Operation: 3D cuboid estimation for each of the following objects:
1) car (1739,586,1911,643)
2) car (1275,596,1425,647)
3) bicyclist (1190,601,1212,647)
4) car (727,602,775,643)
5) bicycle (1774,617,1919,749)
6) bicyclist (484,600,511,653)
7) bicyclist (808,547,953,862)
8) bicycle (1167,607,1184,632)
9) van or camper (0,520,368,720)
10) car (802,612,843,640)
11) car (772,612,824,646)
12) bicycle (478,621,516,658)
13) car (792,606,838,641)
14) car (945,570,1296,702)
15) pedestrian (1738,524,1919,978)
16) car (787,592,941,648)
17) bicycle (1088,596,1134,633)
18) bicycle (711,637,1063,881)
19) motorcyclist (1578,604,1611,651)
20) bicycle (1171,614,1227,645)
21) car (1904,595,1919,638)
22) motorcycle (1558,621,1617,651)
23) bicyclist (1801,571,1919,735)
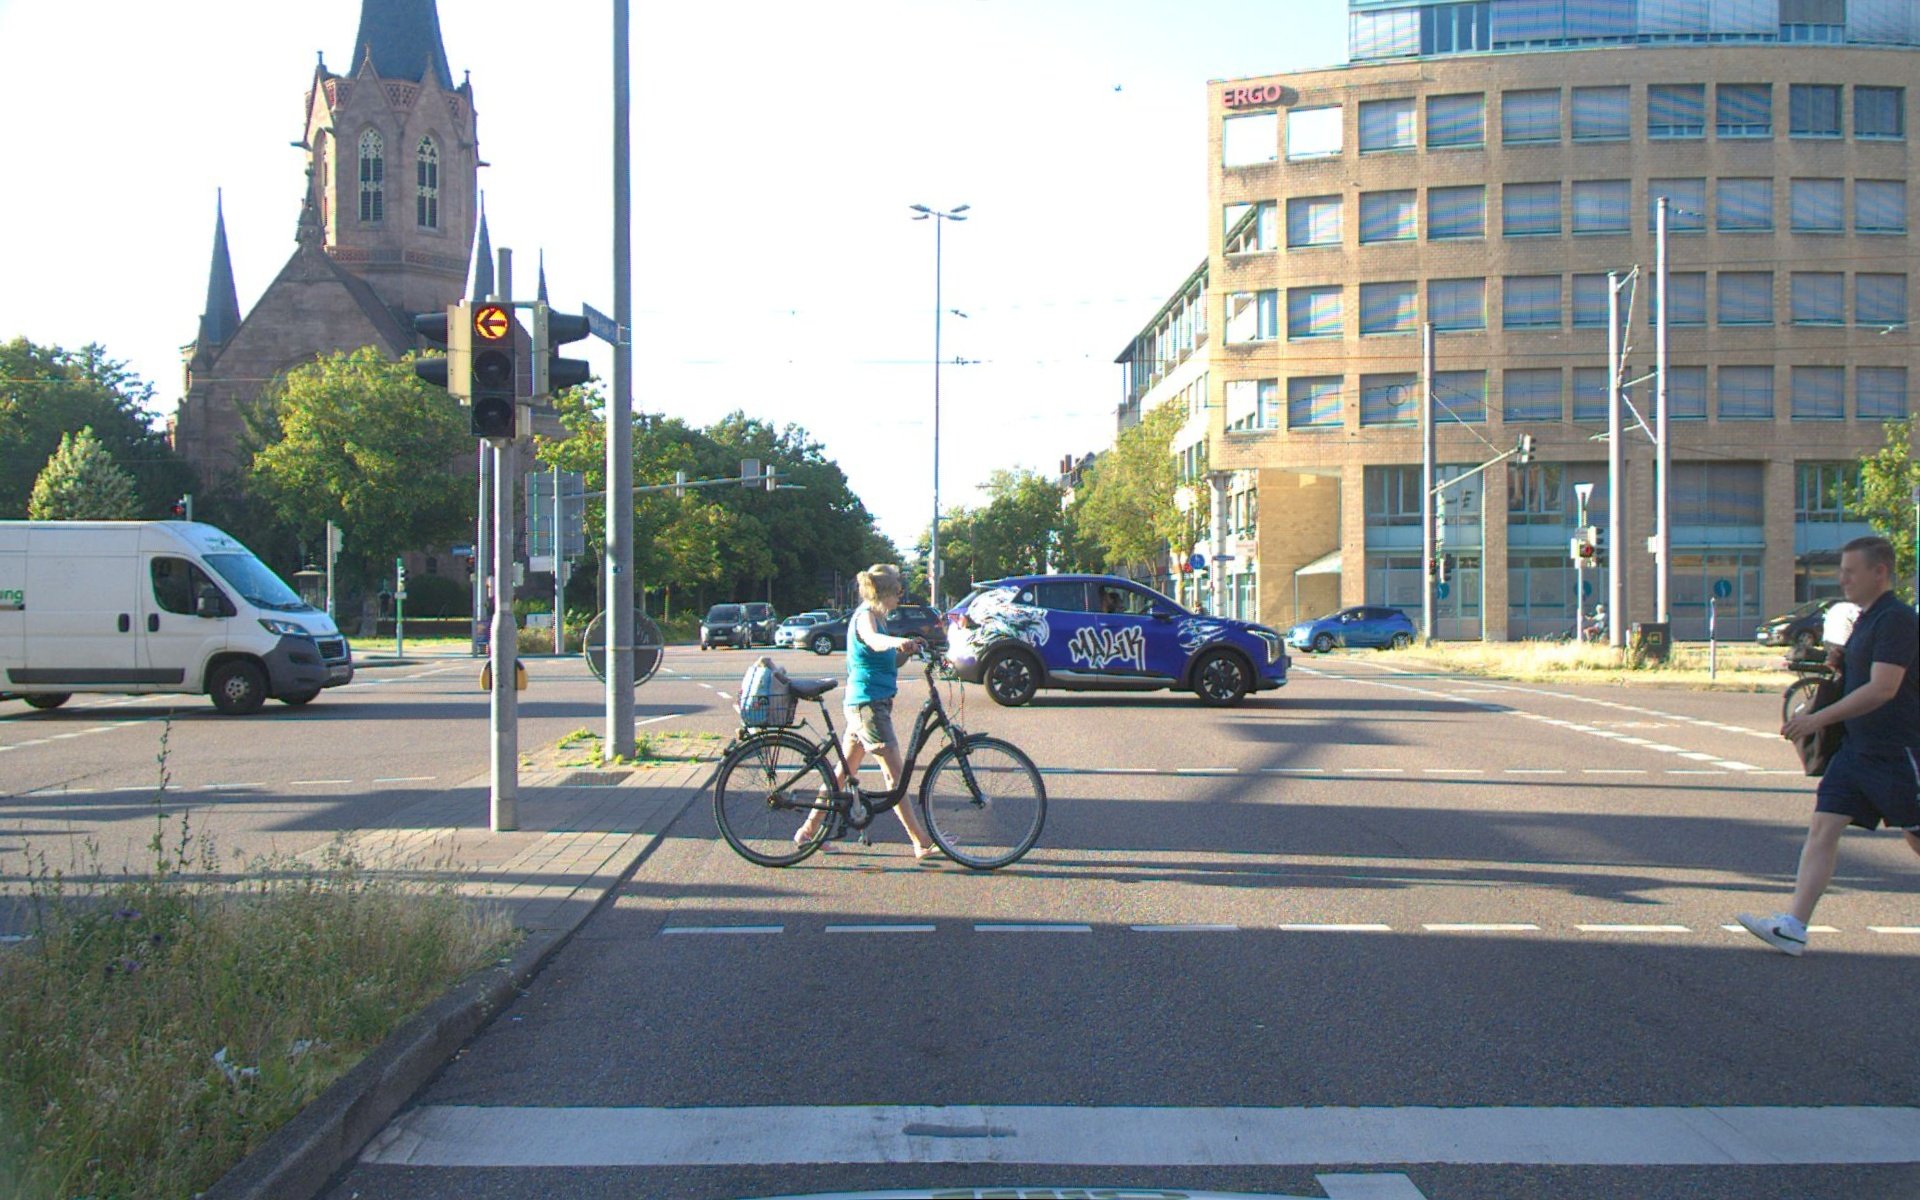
[{"bbox_3d":[25.969,0.414,49.745,4.142,1.642,2.000,0,0,0],"label":"car"},{"bbox_3d":[12.092,0.644,51.412,4.146,1.528,1.998,0,0,-5],"label":"car"},{"bbox_3d":[7.943,0.790,54.586,0.652,1.495,0.534,0,0,2],"label":"bicyclist"},{"bbox_3d":[-9.350,0.990,74.175,1.744,1.734,3.999,0,0,-1],"label":"car"},{"bbox_3d":[9.086,0.769,15.853,2.002,1.188,1.161,0,0,-4],"label":"bicycle"},{"bbox_3d":[-15.056,0.860,53.847,0.634,1.724,0.772,0,0,-37],"label":"bicyclist"},{"bbox_3d":[-0.457,0.560,9.383,0.767,1.689,0.900,-1,0,-4],"label":"bicyclist"},{"bbox_3d":[11.012,0.988,84.558,0.757,1.216,2.467,0,0,6],"label":"bicycle"},{"bbox_3d":[-10.841,0.252,21.743,5.311,2.459,2.165,0,0,-1],"label":"van or camper"},{"bbox_3d":[-6.624,1.236,80.157,1.744,1.258,3.999,0,0,-1],"label":"car"},{"bbox_3d":[-6.461,1.141,66.322,1.744,1.258,3.999,0,0,-1],"label":"car"},{"bbox_3d":[-15.103,1.285,53.909,0.641,1.159,1.657,0,0,-38],"label":"bicycle"},{"bbox_3d":[-6.374,1.012,72.901,1.744,1.490,3.999,0,0,-1],"label":"car"},{"bbox_3d":[2.053,0.451,21.335,4.309,1.601,1.837,0,0,6],"label":"car"},{"bbox_3d":[3.859,0.596,6.887,0.925,1.799,0.669,0,0,3],"label":"pedestrian"},{"bbox_3d":[-2.900,0.584,49.960,4.555,1.626,1.998,0,0,-5],"label":"car"},{"bbox_3d":[4.924,0.471,53.872,1.487,1.193,0.475,0,0,5],"label":"bicycle"},{"bbox_3d":[-0.385,0.817,8.818,1.791,1.209,0.733,0,0,-3],"label":"bicycle"},{"bbox_3d":[21.193,0.907,55.244,0.863,1.537,0.524,0,0,-2],"label":"motorcyclist"},{"bbox_3d":[7.888,0.966,54.591,1.783,1.001,0.534,0,0,2],"label":"bicycle"},{"bbox_3d":[32.504,0.513,53.021,3.535,1.366,1.721,0,0,-2],"label":"car"},{"bbox_3d":[20.946,1.191,55.236,1.780,0.970,0.524,0,0,-2],"label":"motorcycle"},{"bbox_3d":[8.794,0.484,15.816,0.862,1.513,1.161,0,0,-3],"label":"bicyclist"}]
